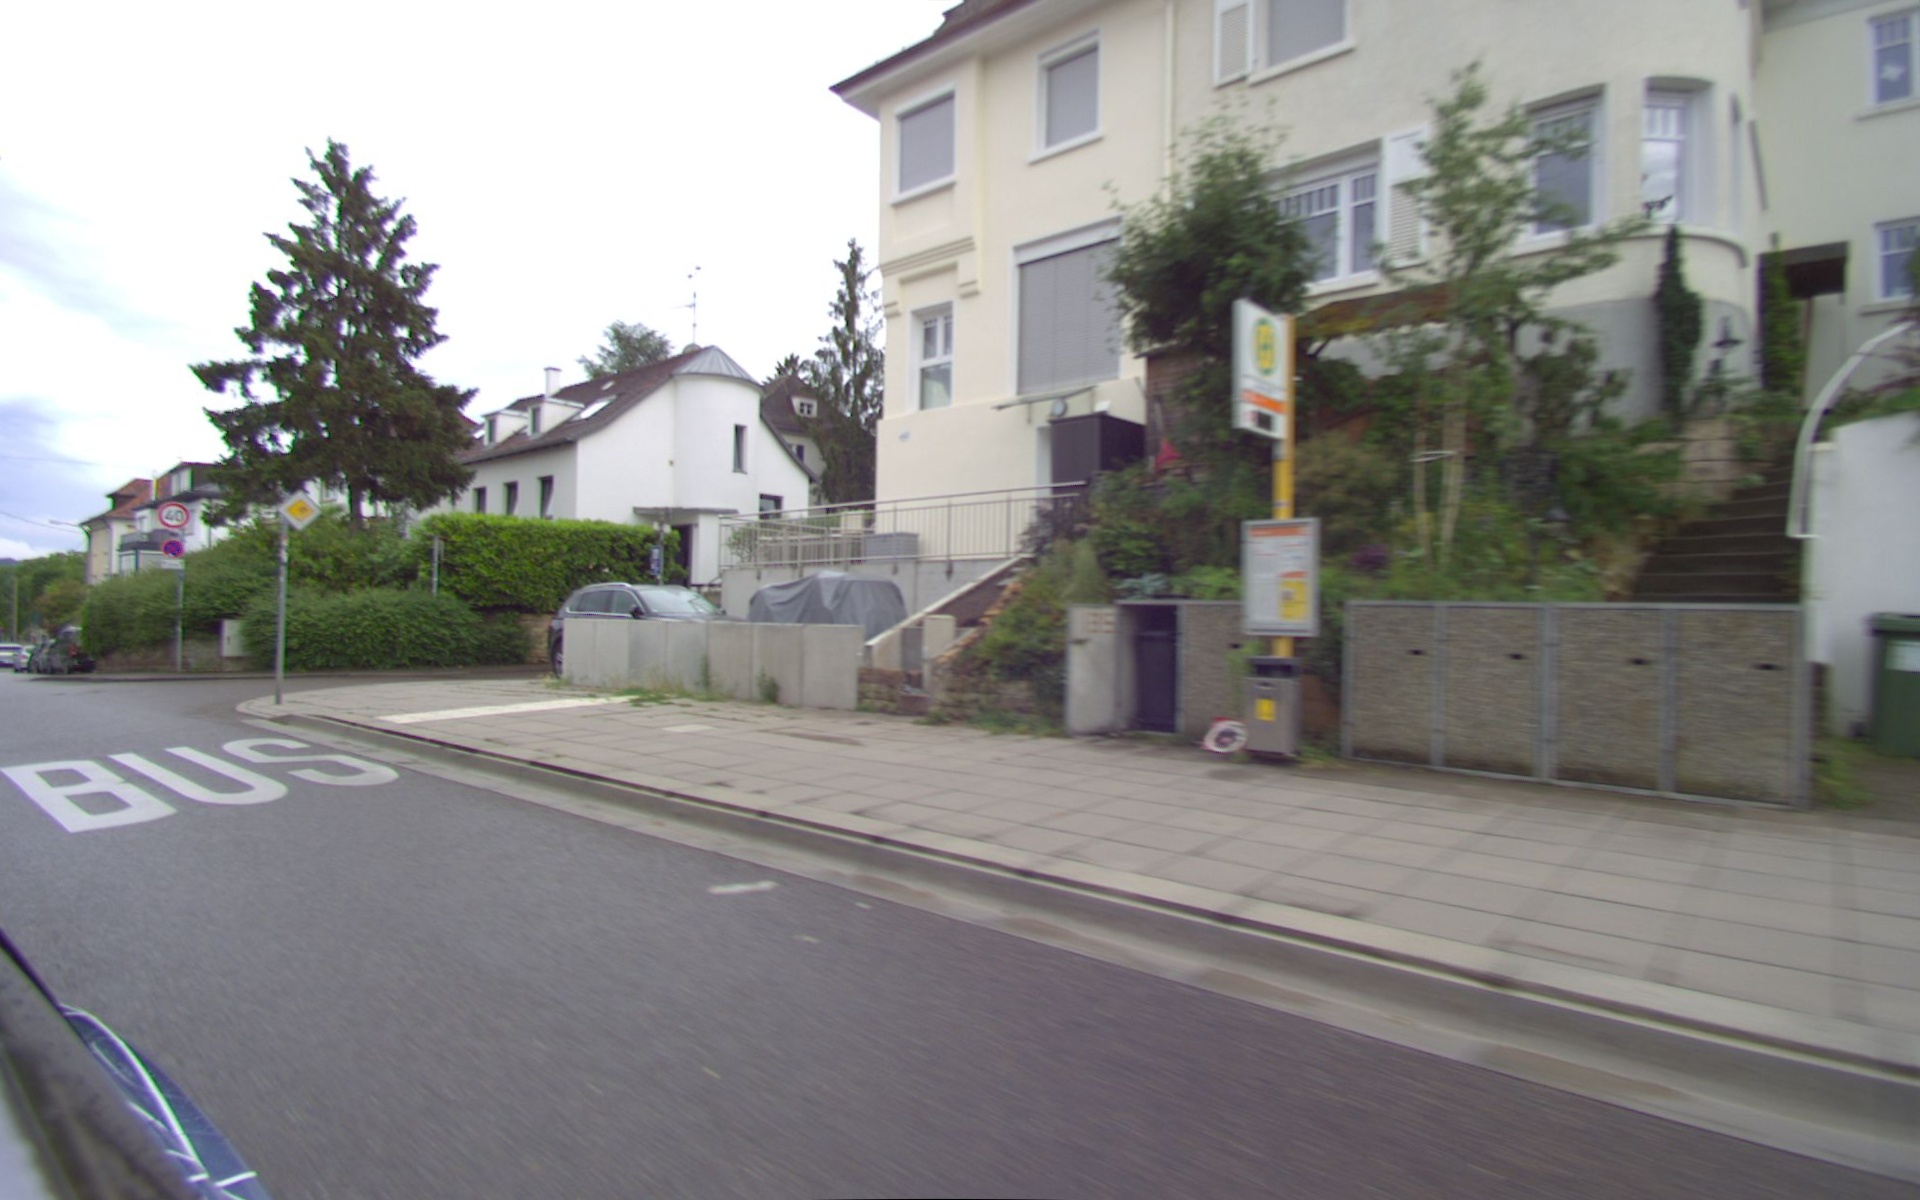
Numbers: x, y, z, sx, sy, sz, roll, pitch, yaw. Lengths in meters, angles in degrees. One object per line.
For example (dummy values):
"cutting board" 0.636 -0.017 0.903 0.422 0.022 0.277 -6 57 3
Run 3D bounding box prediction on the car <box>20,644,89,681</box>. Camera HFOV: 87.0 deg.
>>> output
"car" -40.669 2.823 45.406 4.399 1.502 1.675 -4 -2 40

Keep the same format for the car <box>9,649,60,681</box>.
"car" -47.014 3.312 51.401 3.436 1.502 1.573 -4 -2 42

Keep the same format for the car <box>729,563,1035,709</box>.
"car" -1.139 0.505 13.749 3.993 1.709 1.749 -3 -2 37

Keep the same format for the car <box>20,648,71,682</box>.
"car" -43.844 3.108 48.496 2.893 1.502 1.502 -4 -2 41

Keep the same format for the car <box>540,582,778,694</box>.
"car" -5.032 0.634 16.695 3.993 1.630 1.749 -3 -2 37

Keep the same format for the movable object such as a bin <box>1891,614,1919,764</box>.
"movable object such as a bin" 7.128 0.632 7.324 0.513 1.066 0.567 -3 -2 41

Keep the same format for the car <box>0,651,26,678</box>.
"car" -56.767 3.814 59.977 4.001 1.512 1.843 -3 -2 44

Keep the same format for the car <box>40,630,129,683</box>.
"car" -36.085 2.342 41.686 4.769 1.972 1.974 -4 -2 39
